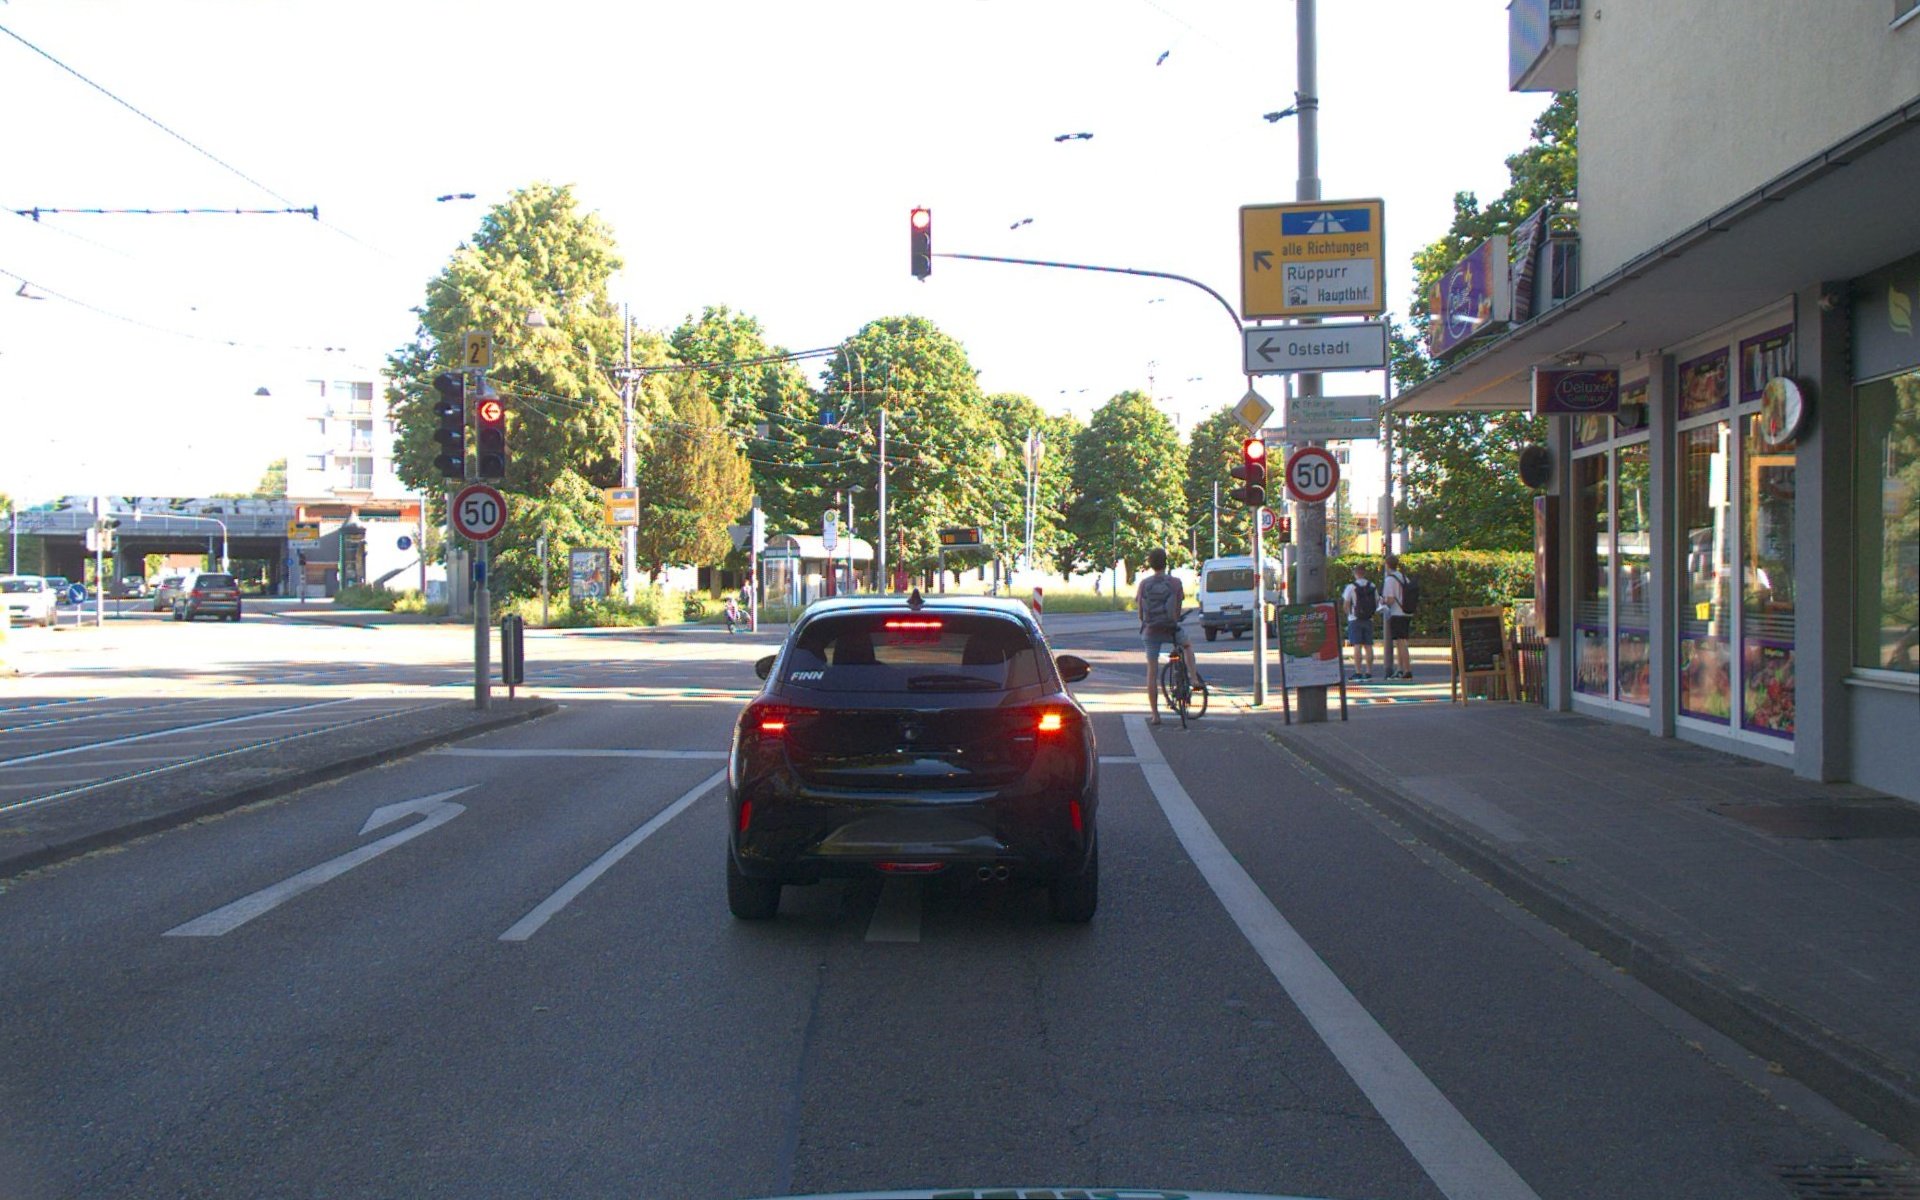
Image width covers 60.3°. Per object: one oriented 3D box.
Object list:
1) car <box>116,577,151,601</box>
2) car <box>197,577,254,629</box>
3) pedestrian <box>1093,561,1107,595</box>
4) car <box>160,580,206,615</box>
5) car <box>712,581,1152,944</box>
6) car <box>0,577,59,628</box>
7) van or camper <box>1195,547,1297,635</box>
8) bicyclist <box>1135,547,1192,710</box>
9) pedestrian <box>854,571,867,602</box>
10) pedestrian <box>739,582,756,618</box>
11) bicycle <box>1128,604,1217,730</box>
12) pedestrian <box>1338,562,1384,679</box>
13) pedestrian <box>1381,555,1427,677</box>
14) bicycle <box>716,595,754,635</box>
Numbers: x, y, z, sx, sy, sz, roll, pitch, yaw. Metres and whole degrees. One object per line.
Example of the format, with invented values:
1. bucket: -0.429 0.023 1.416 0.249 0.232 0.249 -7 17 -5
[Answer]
1. car: -55.505 -0.729 111.121 1.860 1.613 3.809 1 0 -24
2. car: -28.510 0.092 64.122 1.885 1.914 4.806 -1 1 -26
3. pedestrian: 7.891 -1.224 93.251 0.600 1.904 0.512 1 -1 -40
4. car: -36.329 -0.129 77.305 1.776 1.545 4.169 1 0 -27
5. car: -0.141 0.648 8.791 1.803 1.487 3.983 0 1 -1
6. car: -31.143 0.068 54.820 1.860 1.613 3.809 1 0 -24
7. van or camper: 8.087 -0.224 46.451 1.987 2.351 4.540 1 0 20
8. bicyclist: 2.189 0.296 17.787 0.522 1.722 0.568 0 0 16
9. pedestrian: -6.070 -0.816 101.171 0.723 1.904 0.661 1 -1 -7
10. pedestrian: -8.835 -0.013 68.732 0.558 1.498 0.666 0 0 7
11. bicycle: 2.331 0.689 17.961 0.737 1.256 2.017 0 1 14
12. pedestrian: 6.220 0.310 25.667 0.620 1.794 0.582 1 -1 19
13. pedestrian: 6.860 0.248 25.548 0.620 1.852 0.745 1 -1 19
14. bicycle: -6.284 0.405 46.211 0.780 1.083 2.184 0 1 -1
